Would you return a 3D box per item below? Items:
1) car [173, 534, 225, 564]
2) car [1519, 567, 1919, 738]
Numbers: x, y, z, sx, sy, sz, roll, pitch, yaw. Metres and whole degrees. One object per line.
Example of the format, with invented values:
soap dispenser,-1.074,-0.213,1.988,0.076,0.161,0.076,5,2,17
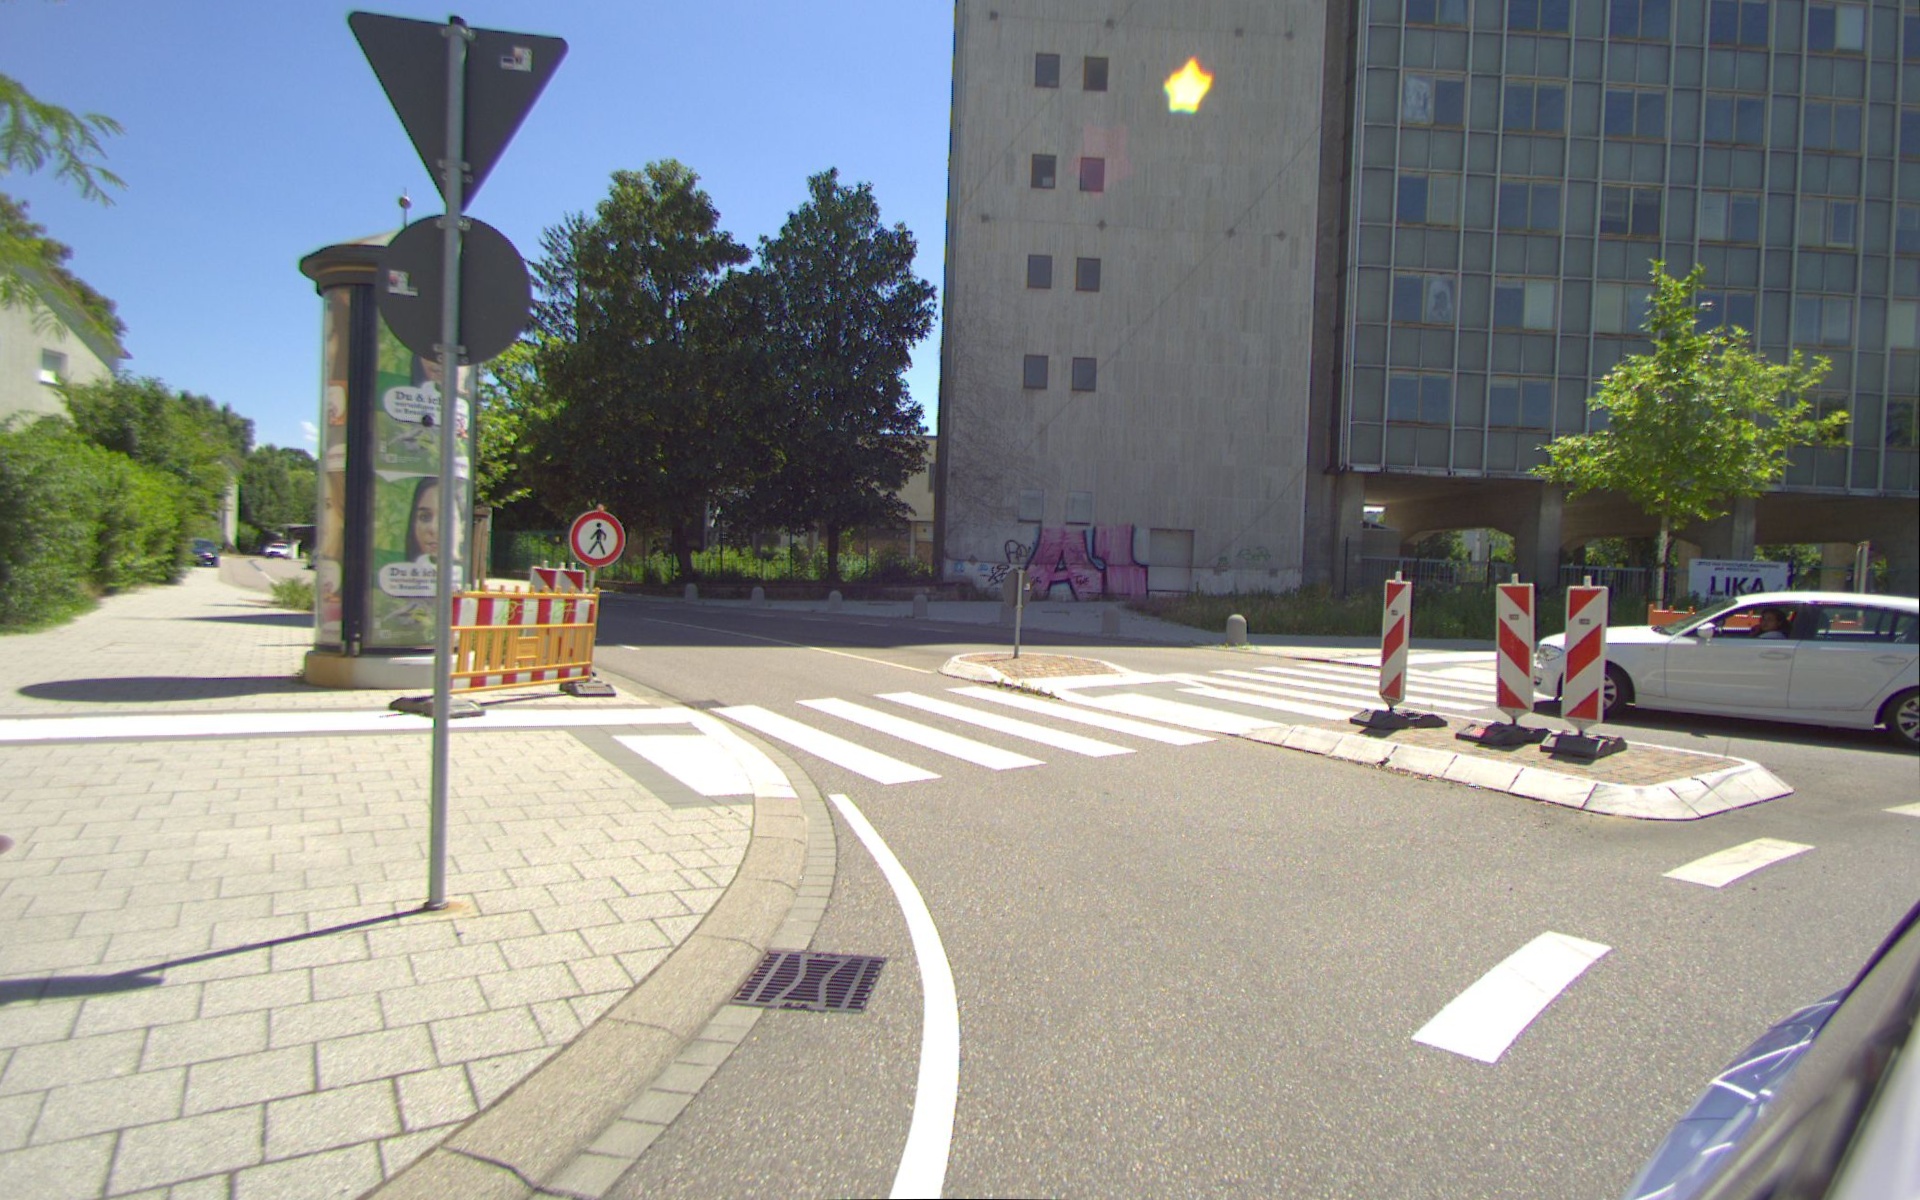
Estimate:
car,-39.909,-2.672,53.039,1.965,1.478,3.996,0,2,-40
car,8.502,0.462,10.696,4.239,1.476,1.882,4,2,41
